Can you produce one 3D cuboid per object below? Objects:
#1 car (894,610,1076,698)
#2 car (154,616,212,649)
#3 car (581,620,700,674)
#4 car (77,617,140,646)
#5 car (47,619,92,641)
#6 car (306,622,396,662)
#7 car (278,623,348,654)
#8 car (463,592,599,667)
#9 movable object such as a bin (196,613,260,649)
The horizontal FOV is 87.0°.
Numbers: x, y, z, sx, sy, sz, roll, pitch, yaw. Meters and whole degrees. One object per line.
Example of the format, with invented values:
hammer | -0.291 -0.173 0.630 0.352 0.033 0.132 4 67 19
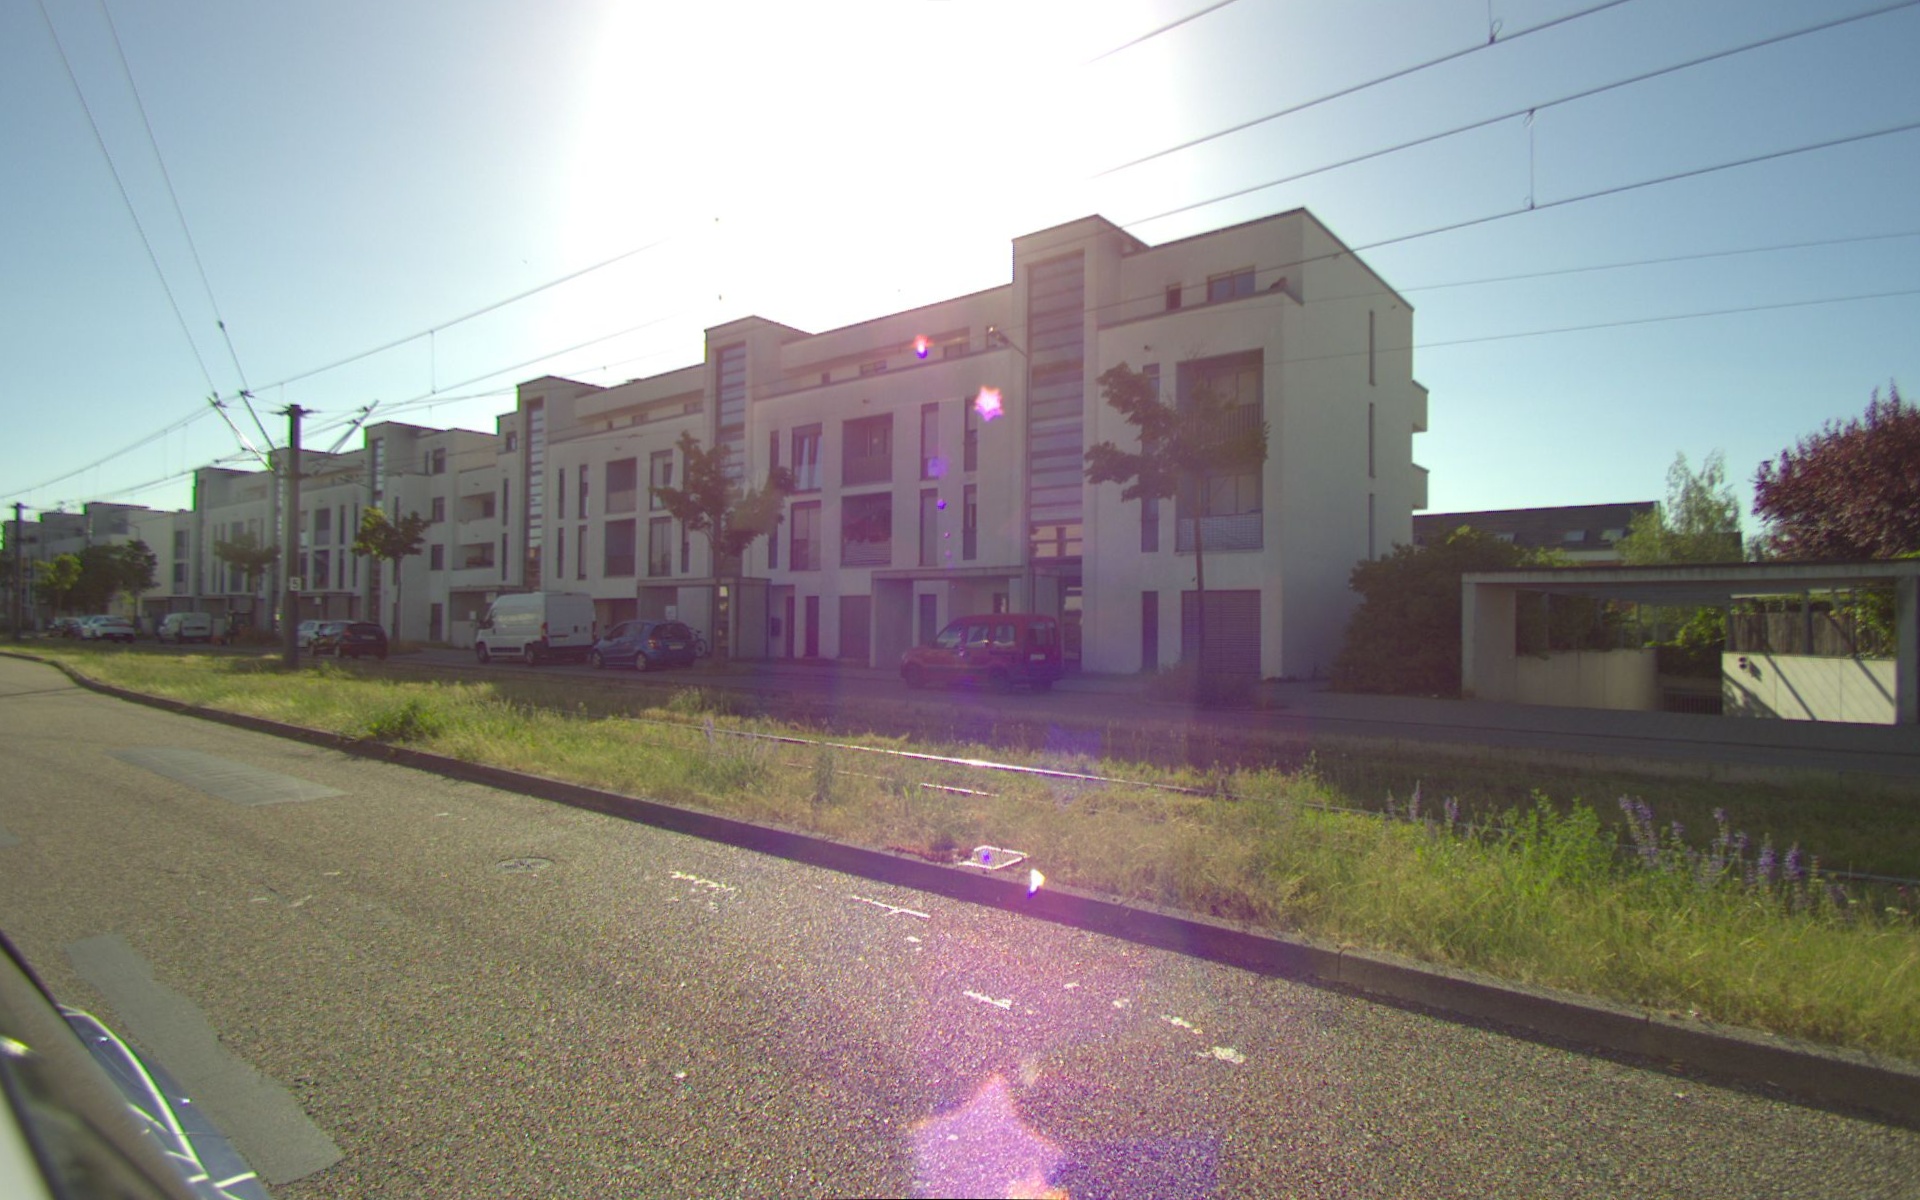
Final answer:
car | 0.522 1.161 22.977 3.836 1.809 1.861 -1 -1 42
car | -47.272 1.966 61.577 4.149 1.884 1.745 -1 -1 37
car | -10.028 1.424 31.657 3.840 1.548 1.805 -1 -1 41
car | -51.161 1.890 60.751 4.641 1.608 1.974 -1 -4 39
car | -67.555 2.265 76.772 4.149 1.611 1.745 -1 -1 37
car | -23.089 1.588 38.300 3.999 1.429 1.769 -1 -4 42
car | -31.301 1.840 48.947 4.149 1.443 1.503 -1 -1 37
car | -15.369 1.023 36.082 5.583 2.463 2.119 -1 -1 39
movable object such as a bin | -40.918 1.702 56.547 4.149 1.952 1.745 -1 -1 37
